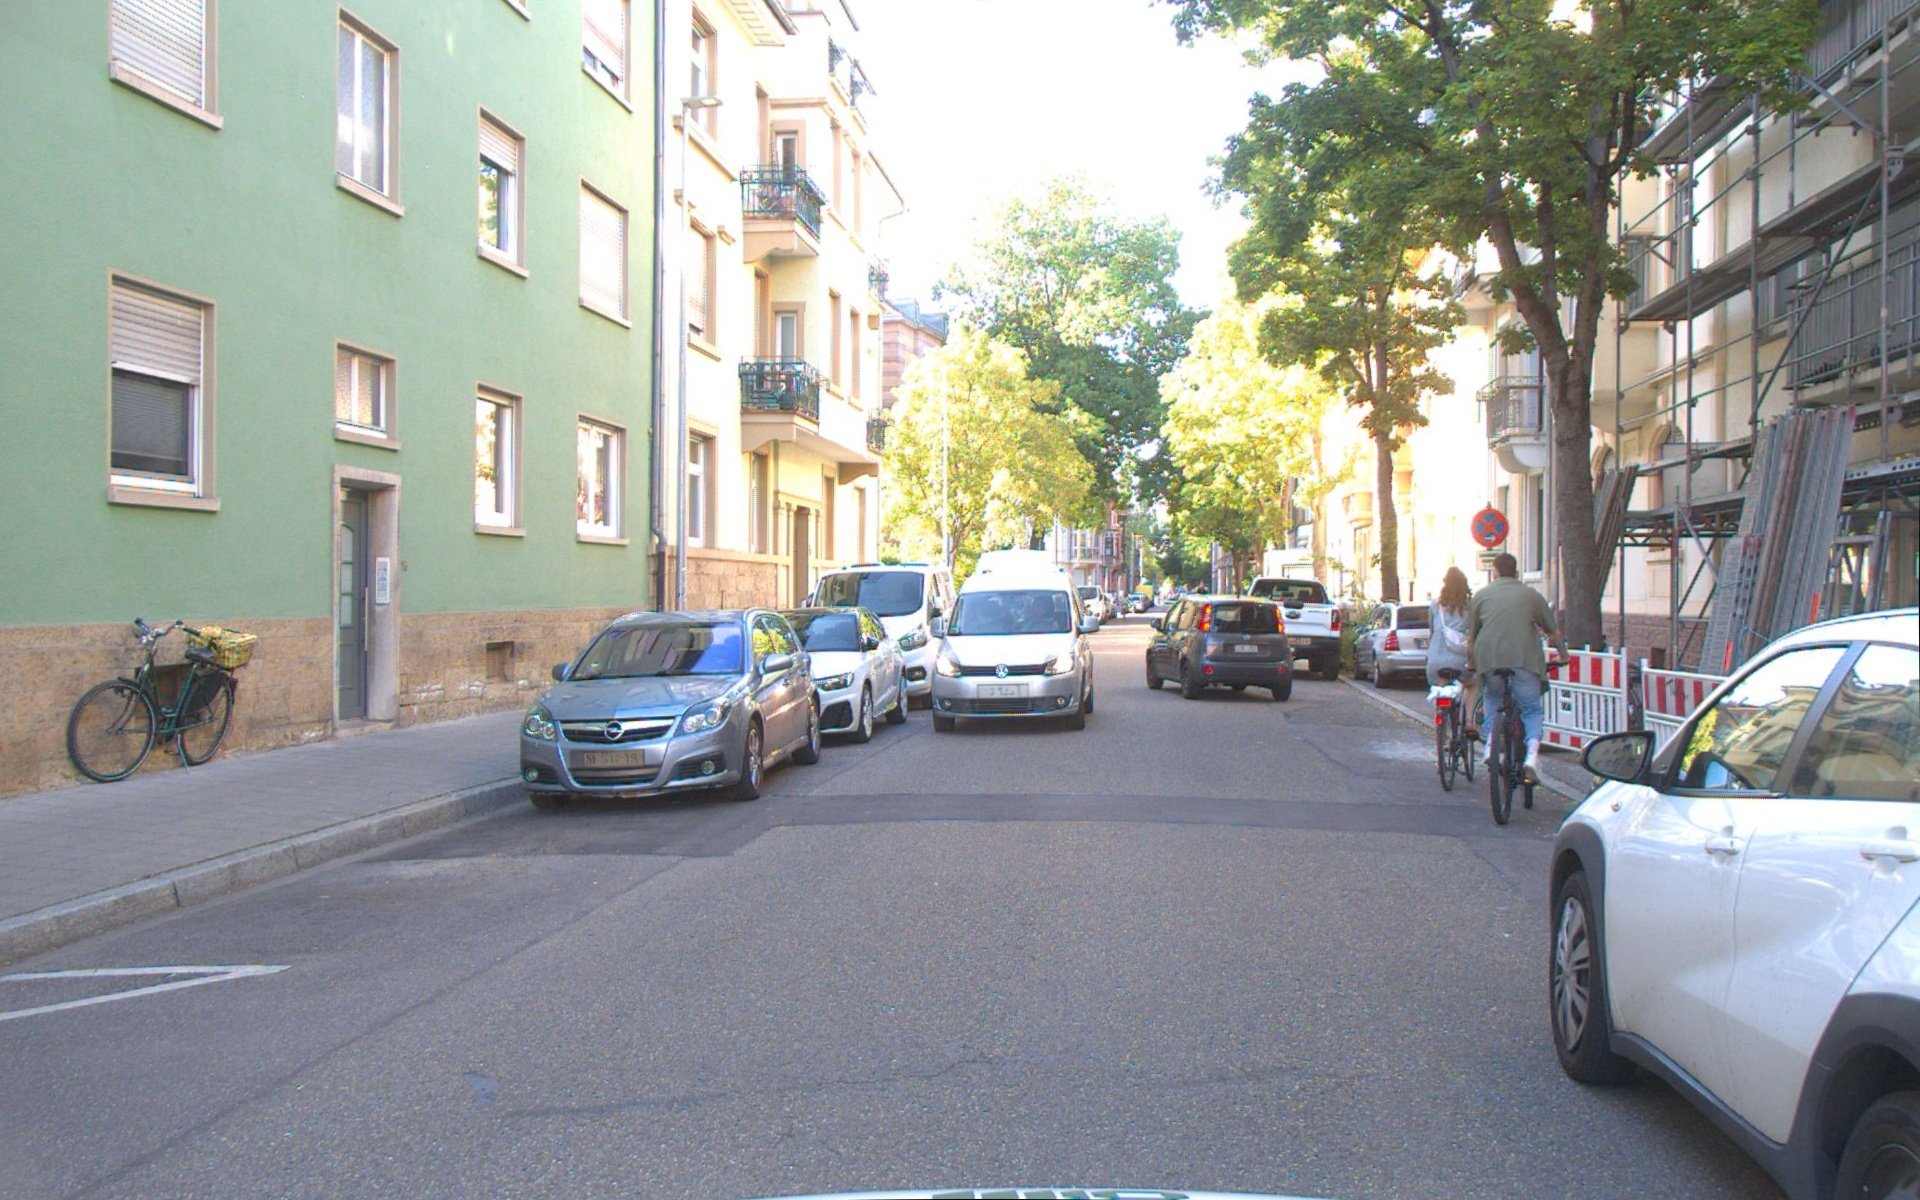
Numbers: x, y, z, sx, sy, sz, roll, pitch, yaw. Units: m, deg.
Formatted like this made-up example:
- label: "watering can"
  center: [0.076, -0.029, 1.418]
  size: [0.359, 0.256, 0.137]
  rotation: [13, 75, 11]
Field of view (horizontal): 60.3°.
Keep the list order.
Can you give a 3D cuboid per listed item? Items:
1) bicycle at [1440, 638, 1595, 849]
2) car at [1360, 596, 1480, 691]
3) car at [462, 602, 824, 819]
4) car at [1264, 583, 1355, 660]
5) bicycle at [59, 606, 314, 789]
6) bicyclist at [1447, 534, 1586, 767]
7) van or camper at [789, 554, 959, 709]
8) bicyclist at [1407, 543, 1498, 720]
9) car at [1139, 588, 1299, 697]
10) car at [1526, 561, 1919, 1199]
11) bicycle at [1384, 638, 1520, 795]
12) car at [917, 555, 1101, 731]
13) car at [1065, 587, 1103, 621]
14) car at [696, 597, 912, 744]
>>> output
- label: "bicycle"
  center: [4.000, 0.948, 11.753]
  size: [0.822, 1.168, 2.233]
  rotation: [6, 3, 22]
- label: "car"
  center: [7.851, 0.698, 28.445]
  size: [1.523, 1.434, 3.383]
  rotation: [3, 1, 9]
- label: "car"
  center: [-2.406, 0.784, 13.689]
  size: [1.937, 1.481, 4.116]
  rotation: [-1, 0, 4]
- label: "car"
  center: [8.210, 0.468, 39.110]
  size: [1.651, 1.713, 4.003]
  rotation: [0, 0, 6]
- label: "bicycle"
  center: [-5.768, 0.676, 12.508]
  size: [0.539, 1.198, 2.280]
  rotation: [3, 1, 8]
- label: "bicyclist"
  center: [3.992, 0.370, 11.835]
  size: [0.864, 1.589, 0.867]
  rotation: [-1, -3, 23]
- label: "van or camper"
  center: [-1.147, 0.411, 24.427]
  size: [1.952, 2.049, 4.914]
  rotation: [0, 0, 4]
- label: "bicyclist"
  center: [4.066, 0.281, 13.625]
  size: [0.610, 1.405, 0.867]
  rotation: [-2, -5, 22]
- label: "car"
  center: [3.883, 0.593, 25.323]
  size: [1.527, 1.560, 3.481]
  rotation: [0, 0, -7]
- label: "car"
  center: [2.570, 0.746, 3.922]
  size: [1.639, 1.572, 3.406]
  rotation: [2, 0, 8]
- label: "bicycle"
  center: [4.143, 0.917, 13.816]
  size: [0.822, 1.169, 2.232]
  rotation: [1, -1, 23]
- label: "car"
  center: [0.701, 0.472, 20.066]
  size: [1.744, 1.893, 4.202]
  rotation: [-1, 0, 8]
- label: "car"
  center: [6.229, 0.165, 82.709]
  size: [1.674, 1.635, 4.003]
  rotation: [0, 0, 7]
- label: "car"
  center: [-1.652, 0.723, 18.732]
  size: [1.650, 1.479, 3.713]
  rotation: [0, 0, 7]
